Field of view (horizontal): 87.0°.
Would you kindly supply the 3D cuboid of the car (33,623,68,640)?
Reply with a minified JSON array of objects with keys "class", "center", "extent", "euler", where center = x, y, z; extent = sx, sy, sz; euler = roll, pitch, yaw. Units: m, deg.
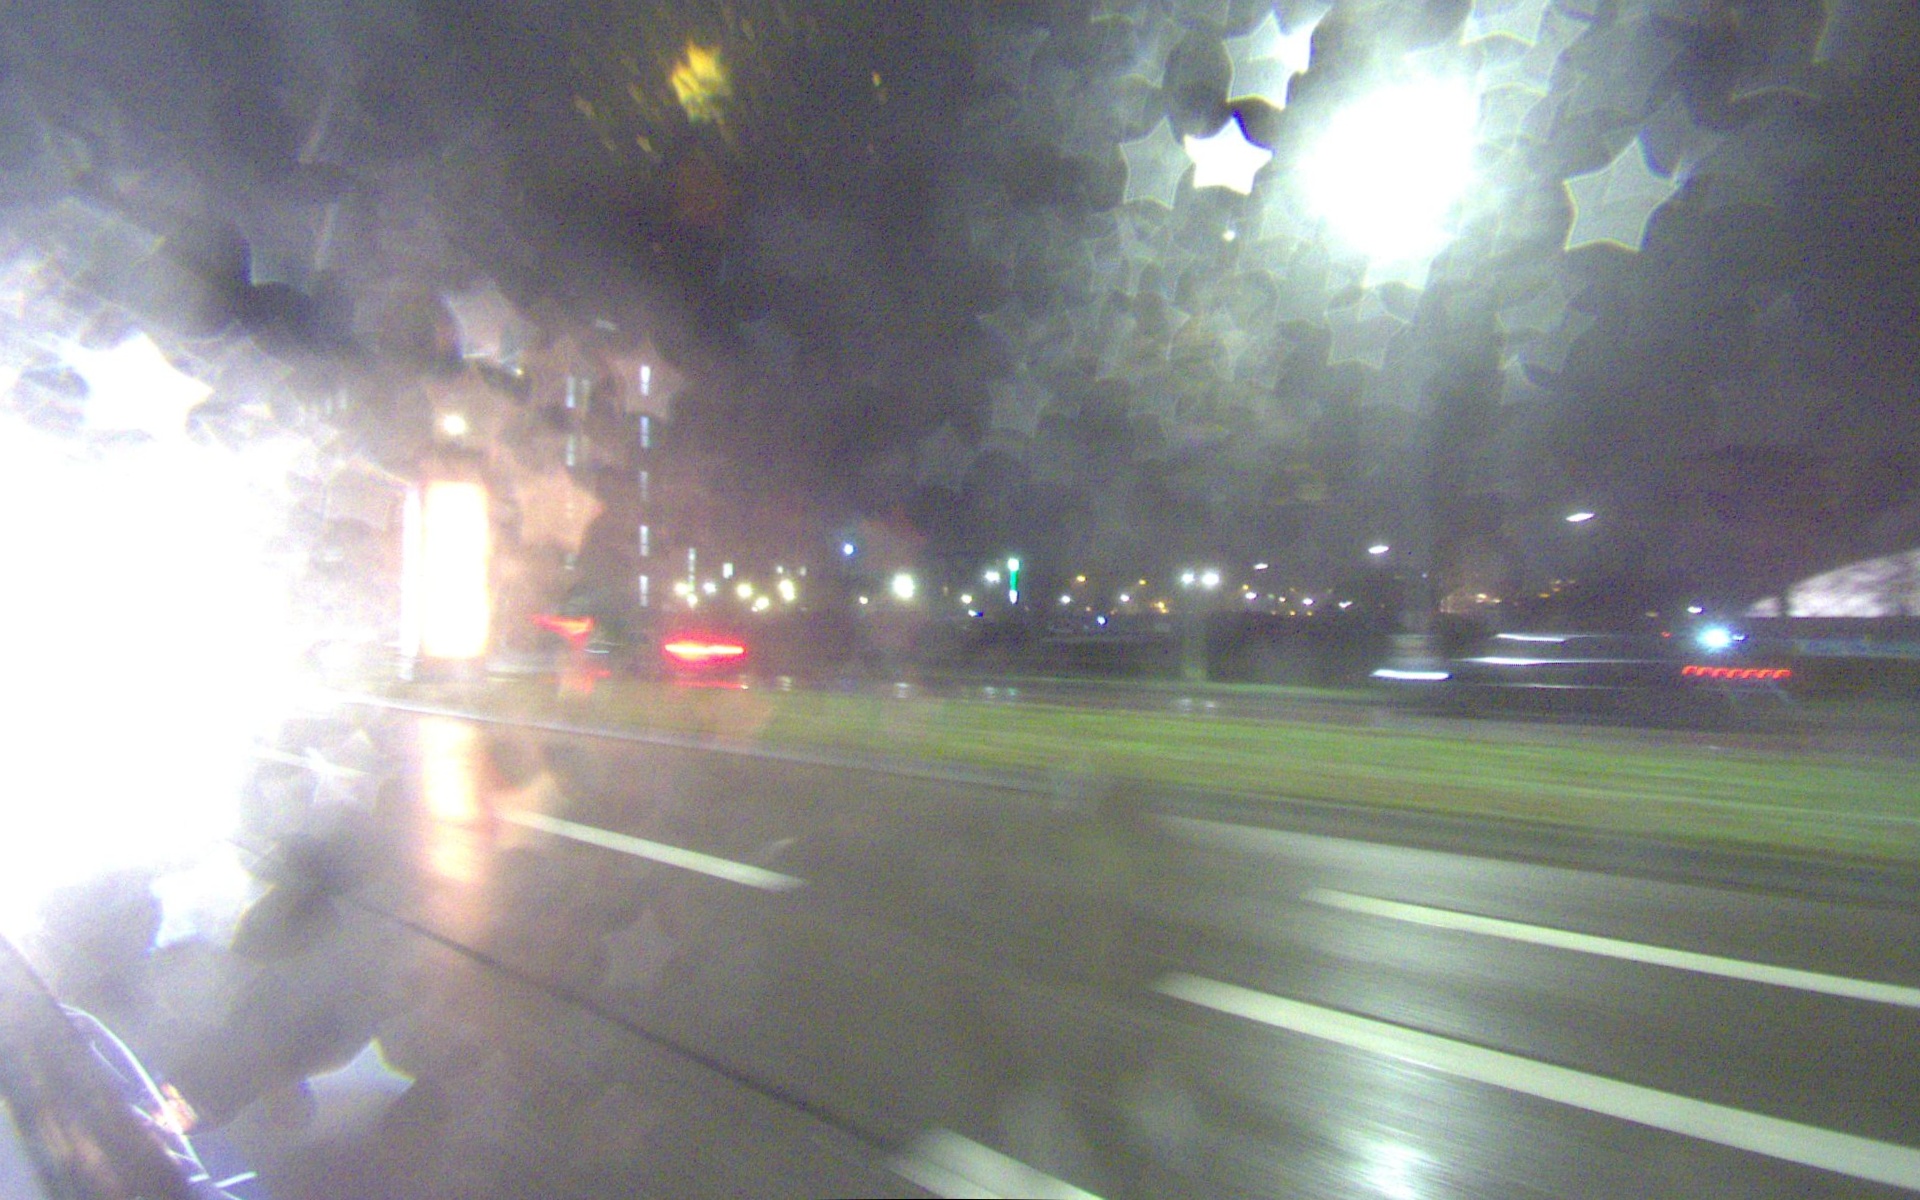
[{"class":"car","center":[-93.012,3.213,103.486],"extent":[4.544,1.696,2.004],"euler":[-2,-1,40]}]

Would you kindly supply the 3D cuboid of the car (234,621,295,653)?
[{"class":"car","center":[-40.202,2.132,58.432],"extent":[4.437,1.726,1.810],"euler":[-2,-1,40]}]

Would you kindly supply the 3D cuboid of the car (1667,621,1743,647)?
[{"class":"car","center":[46.555,2.089,63.346],"extent":[1.655,1.541,4.002],"euler":[-1,-1,-3]}]

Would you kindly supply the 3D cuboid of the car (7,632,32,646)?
[{"class":"car","center":[-114.477,4.713,123.120],"extent":[4.364,1.604,1.824],"euler":[-2,-1,42]}]

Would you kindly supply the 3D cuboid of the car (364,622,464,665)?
[{"class":"car","center":[-20.091,1.578,37.193],"extent":[3.994,1.475,1.812],"euler":[-2,-1,38]}]

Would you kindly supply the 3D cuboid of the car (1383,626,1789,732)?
[{"class":"car","center":[9.926,1.169,16.390],"extent":[5.344,1.413,1.974],"euler":[-2,-1,39]}]

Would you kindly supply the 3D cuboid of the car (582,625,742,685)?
[{"class":"car","center":[-8.154,1.446,27.492],"extent":[4.653,1.475,1.811],"euler":[-2,-1,39]}]
